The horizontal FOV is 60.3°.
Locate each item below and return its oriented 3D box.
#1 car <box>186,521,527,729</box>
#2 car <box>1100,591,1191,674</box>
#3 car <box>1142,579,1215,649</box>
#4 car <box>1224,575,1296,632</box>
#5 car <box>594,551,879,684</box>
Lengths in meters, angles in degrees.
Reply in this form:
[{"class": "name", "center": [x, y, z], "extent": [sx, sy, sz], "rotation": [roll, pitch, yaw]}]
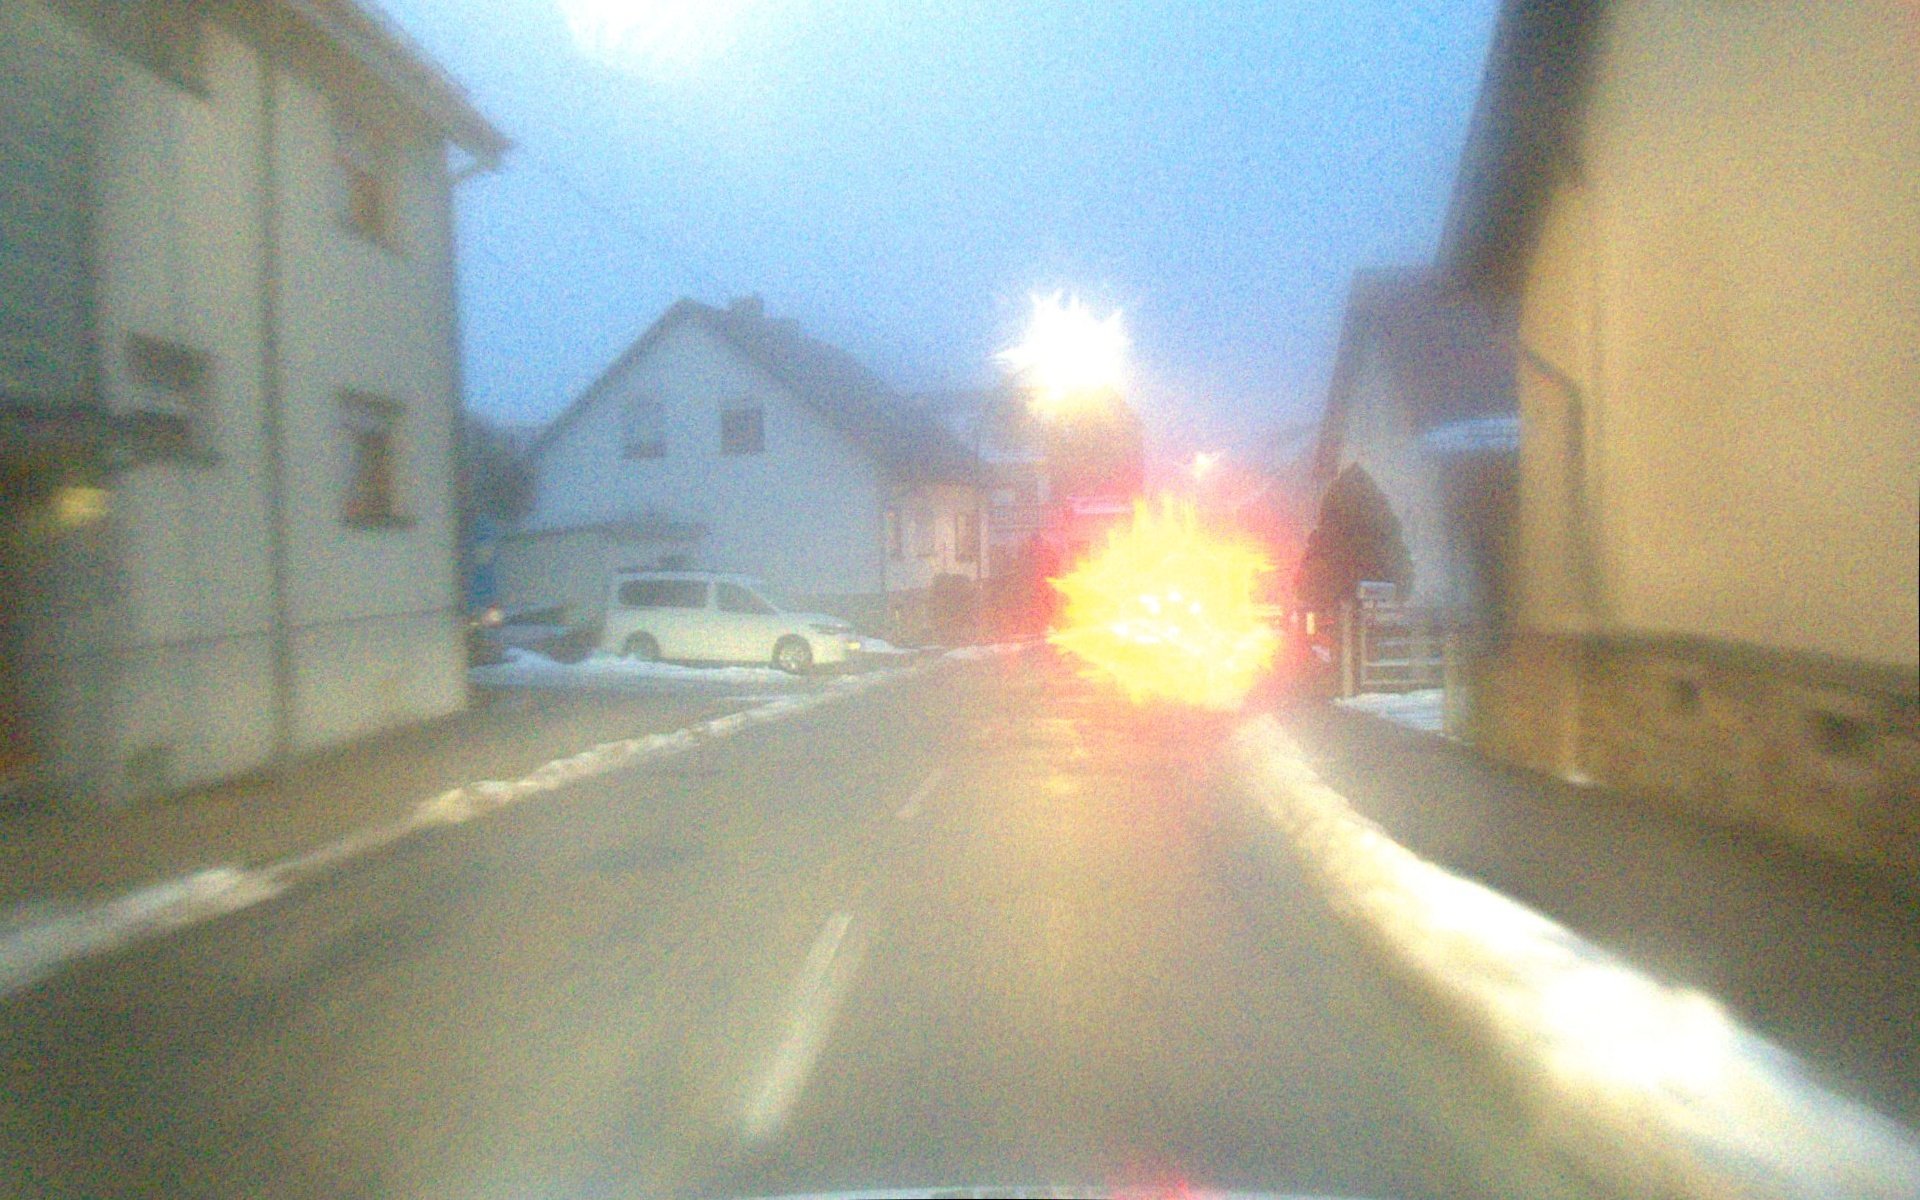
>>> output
[{"class": "car", "center": [-7.894, 0.241, 22.025], "extent": [3.925, 2.316, 1.991], "rotation": [-5, 3, -17]}, {"class": "car", "center": [4.521, 0.732, 39.757], "extent": [1.951, 1.533, 4.005], "rotation": [-3, 3, 9]}, {"class": "car", "center": [7.203, 0.416, 54.257], "extent": [1.951, 1.869, 4.006], "rotation": [-3, 3, 12]}, {"class": "car", "center": [11.356, 0.090, 62.328], "extent": [2.203, 1.667, 4.855], "rotation": [-3, 4, 15]}, {"class": "car", "center": [-4.058, 0.301, 30.262], "extent": [4.632, 2.048, 2.003], "rotation": [-3, 3, 15]}]
